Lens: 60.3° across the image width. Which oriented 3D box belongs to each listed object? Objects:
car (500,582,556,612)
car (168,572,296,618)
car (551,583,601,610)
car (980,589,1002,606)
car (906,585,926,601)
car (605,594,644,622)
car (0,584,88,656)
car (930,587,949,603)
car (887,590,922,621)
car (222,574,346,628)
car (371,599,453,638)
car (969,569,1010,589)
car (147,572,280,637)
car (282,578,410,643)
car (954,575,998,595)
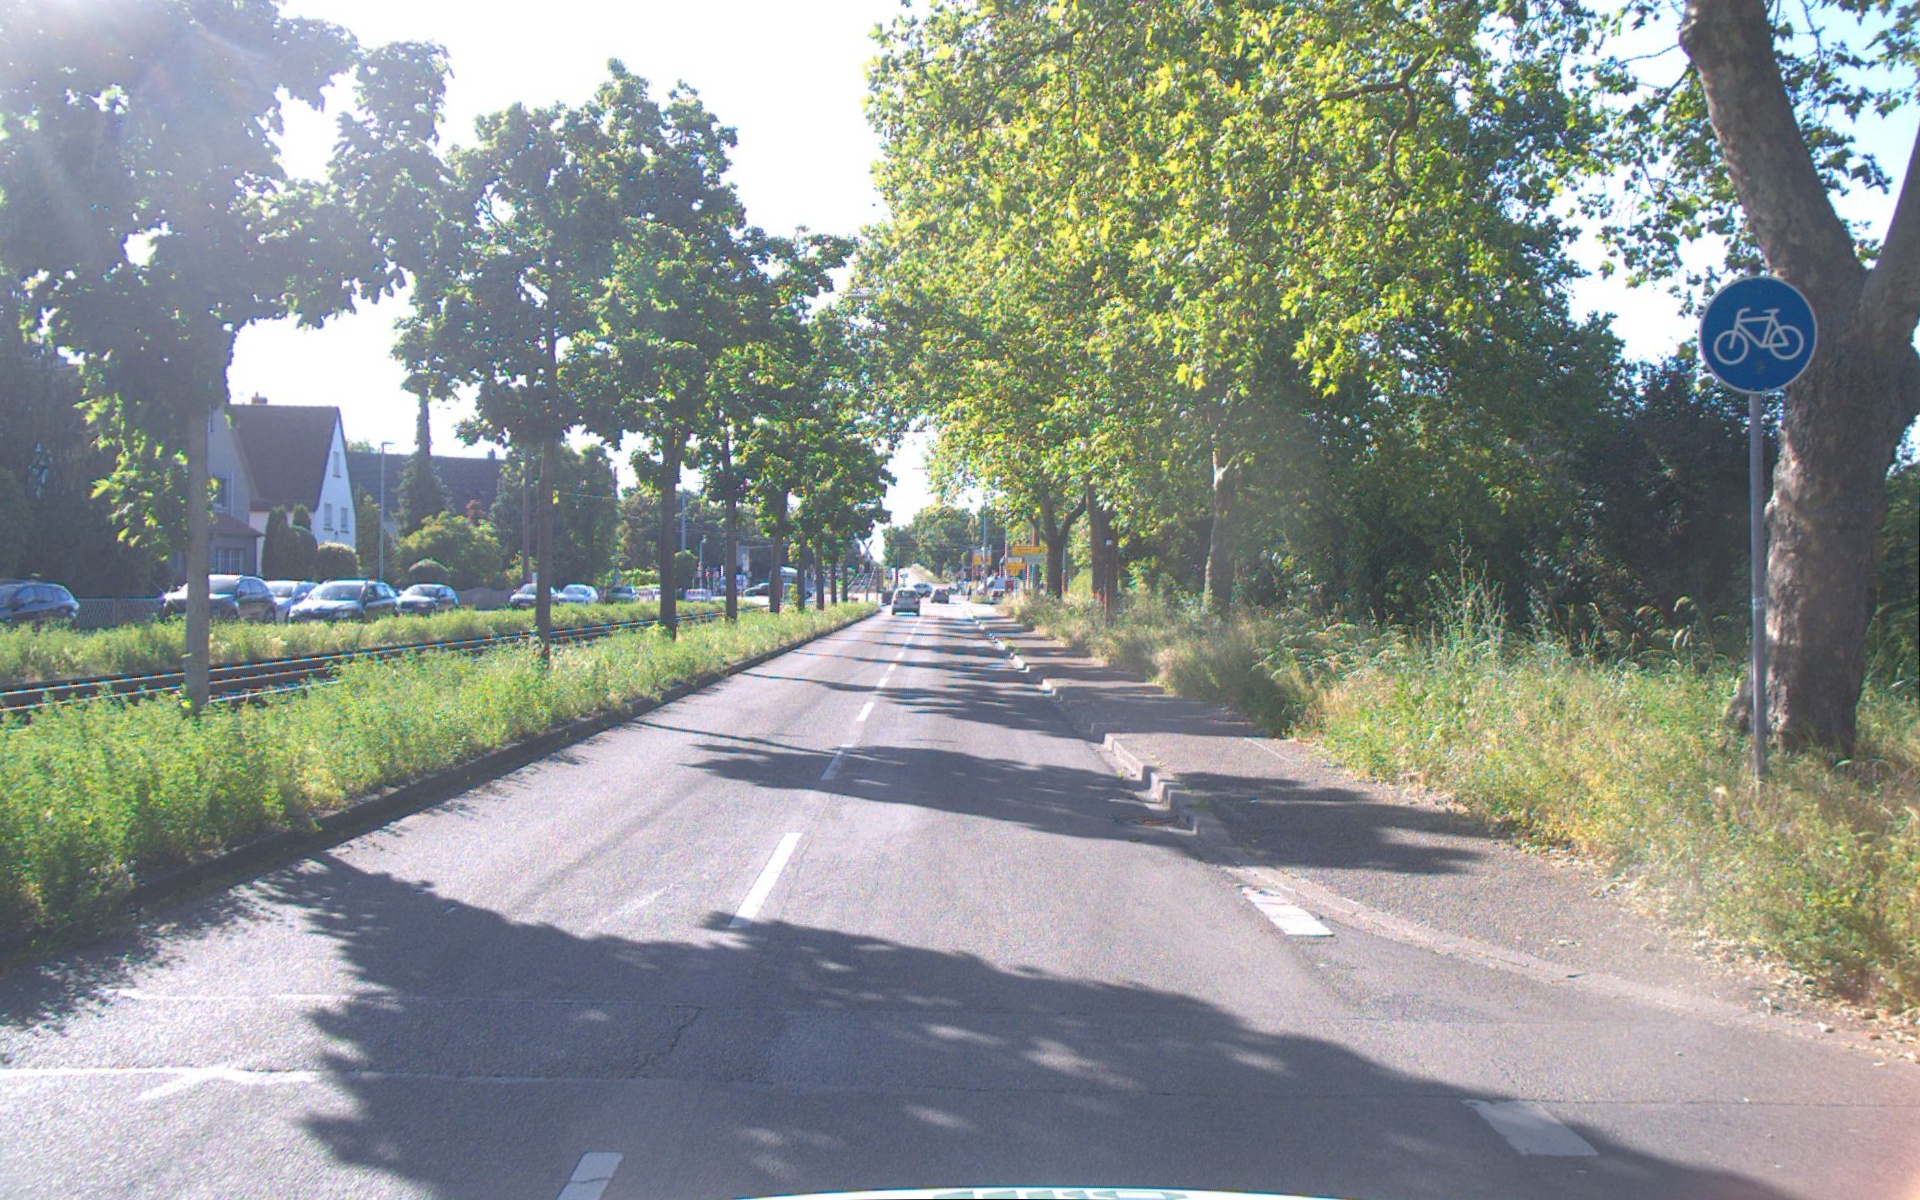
[{"bbox_3d":[-22.154,-0.180,84.982,1.822,1.438,4.157,2,0,-1],"label":"car"},{"bbox_3d":[-26.871,-0.194,61.153,3.839,1.477,1.888,2,2,-1],"label":"car"},{"bbox_3d":[-21.987,-0.217,94.814,1.822,1.456,4.461,2,0,-1],"label":"car"},{"bbox_3d":[3.015,-0.242,161.658,1.953,1.631,4.472,2,0,-1],"label":"car"},{"bbox_3d":[-4.566,-0.707,170.806,1.953,1.631,4.472,2,0,-1],"label":"car"},{"bbox_3d":[-22.288,0.522,109.988,1.742,1.737,4.227,2,0,-1],"label":"car"},{"bbox_3d":[-21.029,0.406,35.972,1.694,1.491,4.601,2,0,-1],"label":"car"},{"bbox_3d":[-2.071,-0.506,165.487,1.755,1.586,4.227,2,0,-1],"label":"car"},{"bbox_3d":[-3.081,0.284,92.511,1.822,1.629,4.227,2,0,-1],"label":"car"},{"bbox_3d":[-21.379,0.014,52.554,1.953,1.572,4.780,2,0,0],"label":"car"},{"bbox_3d":[-21.156,0.687,64.012,1.822,1.393,4.227,2,0,-1],"label":"car"},{"bbox_3d":[3.846,-2.711,214.442,5.206,2.395,1.841,2,0,-38],"label":"car"},{"bbox_3d":[-20.988,0.109,46.720,1.712,1.679,4.554,2,0,-1],"label":"car"},{"bbox_3d":[-16.206,0.246,43.881,1.627,1.579,4.809,2,0,-1],"label":"car"},{"bbox_3d":[1.990,-1.835,203.909,5.082,2.315,1.985,2,0,-25],"label":"car"}]
